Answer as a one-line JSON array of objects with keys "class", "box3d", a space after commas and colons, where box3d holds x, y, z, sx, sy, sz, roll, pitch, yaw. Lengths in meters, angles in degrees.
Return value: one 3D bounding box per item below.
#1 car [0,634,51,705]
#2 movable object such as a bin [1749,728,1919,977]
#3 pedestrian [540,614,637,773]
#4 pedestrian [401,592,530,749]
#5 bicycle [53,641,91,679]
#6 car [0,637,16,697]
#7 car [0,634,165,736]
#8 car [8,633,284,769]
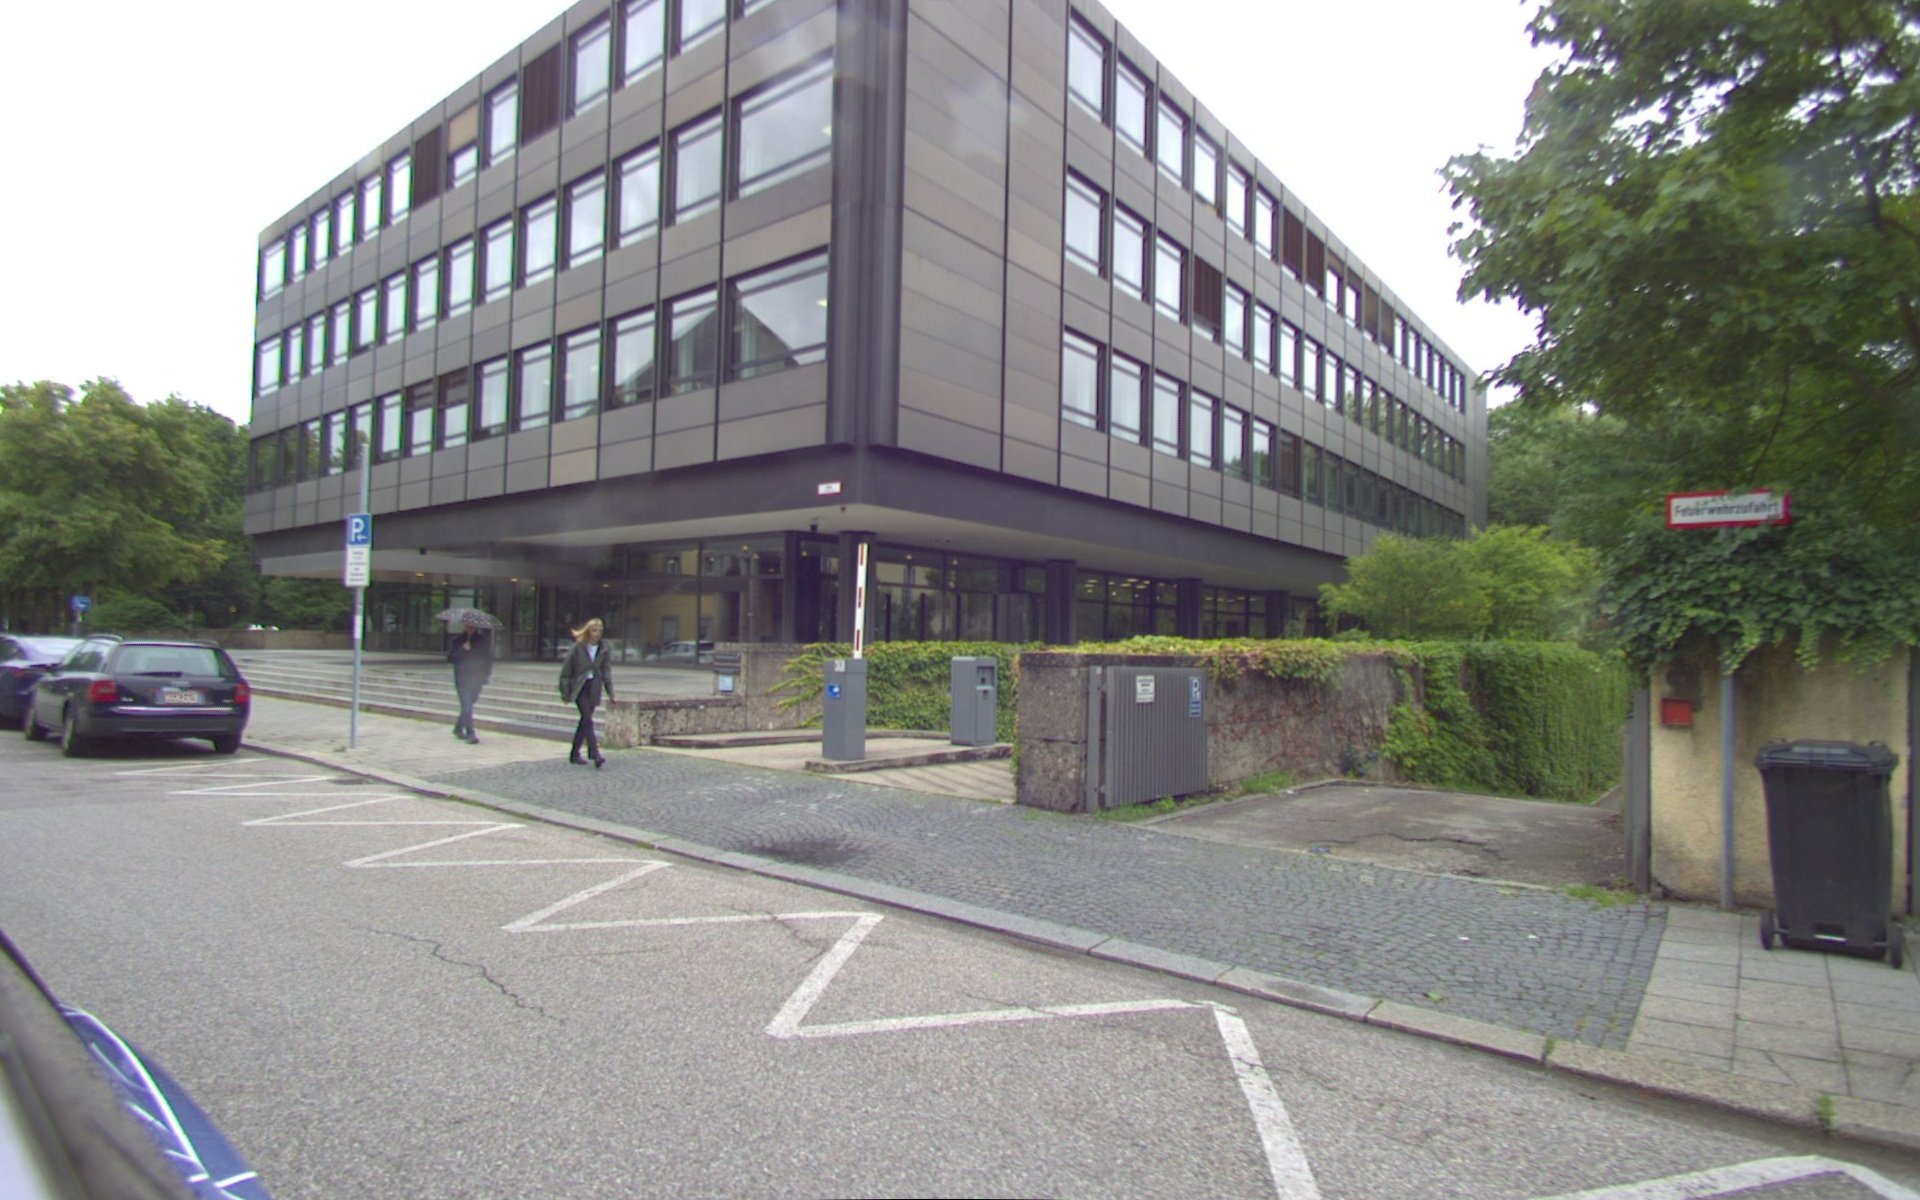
[{"class": "car", "box3d": [-21.610, 1.472, 22.317, 4.234, 1.472, 1.722, -1, -6, 41]}, {"class": "movable object such as a bin", "box3d": [4.626, 1.245, 5.208, 0.839, 1.072, 0.926, -2, -4, 37]}, {"class": "pedestrian", "box3d": [-4.371, 1.054, 11.884, 0.744, 1.762, 0.953, 0, -2, -44]}, {"class": "pedestrian", "box3d": [-6.925, 0.973, 14.190, 1.220, 2.070, 1.124, -1, -4, 38]}, {"class": "bicycle", "box3d": [-28.098, 1.883, 32.028, 1.525, 1.173, 0.636, -1, -1, 38]}, {"class": "car", "box3d": [-25.425, 1.605, 25.597, 4.275, 1.451, 1.664, -1, -6, 40]}, {"class": "car", "box3d": [-15.295, 1.346, 16.943, 4.911, 1.450, 1.904, -1, -5, 38]}, {"class": "car", "box3d": [-11.141, 1.250, 13.722, 4.880, 1.502, 1.973, -1, -5, 40]}]
